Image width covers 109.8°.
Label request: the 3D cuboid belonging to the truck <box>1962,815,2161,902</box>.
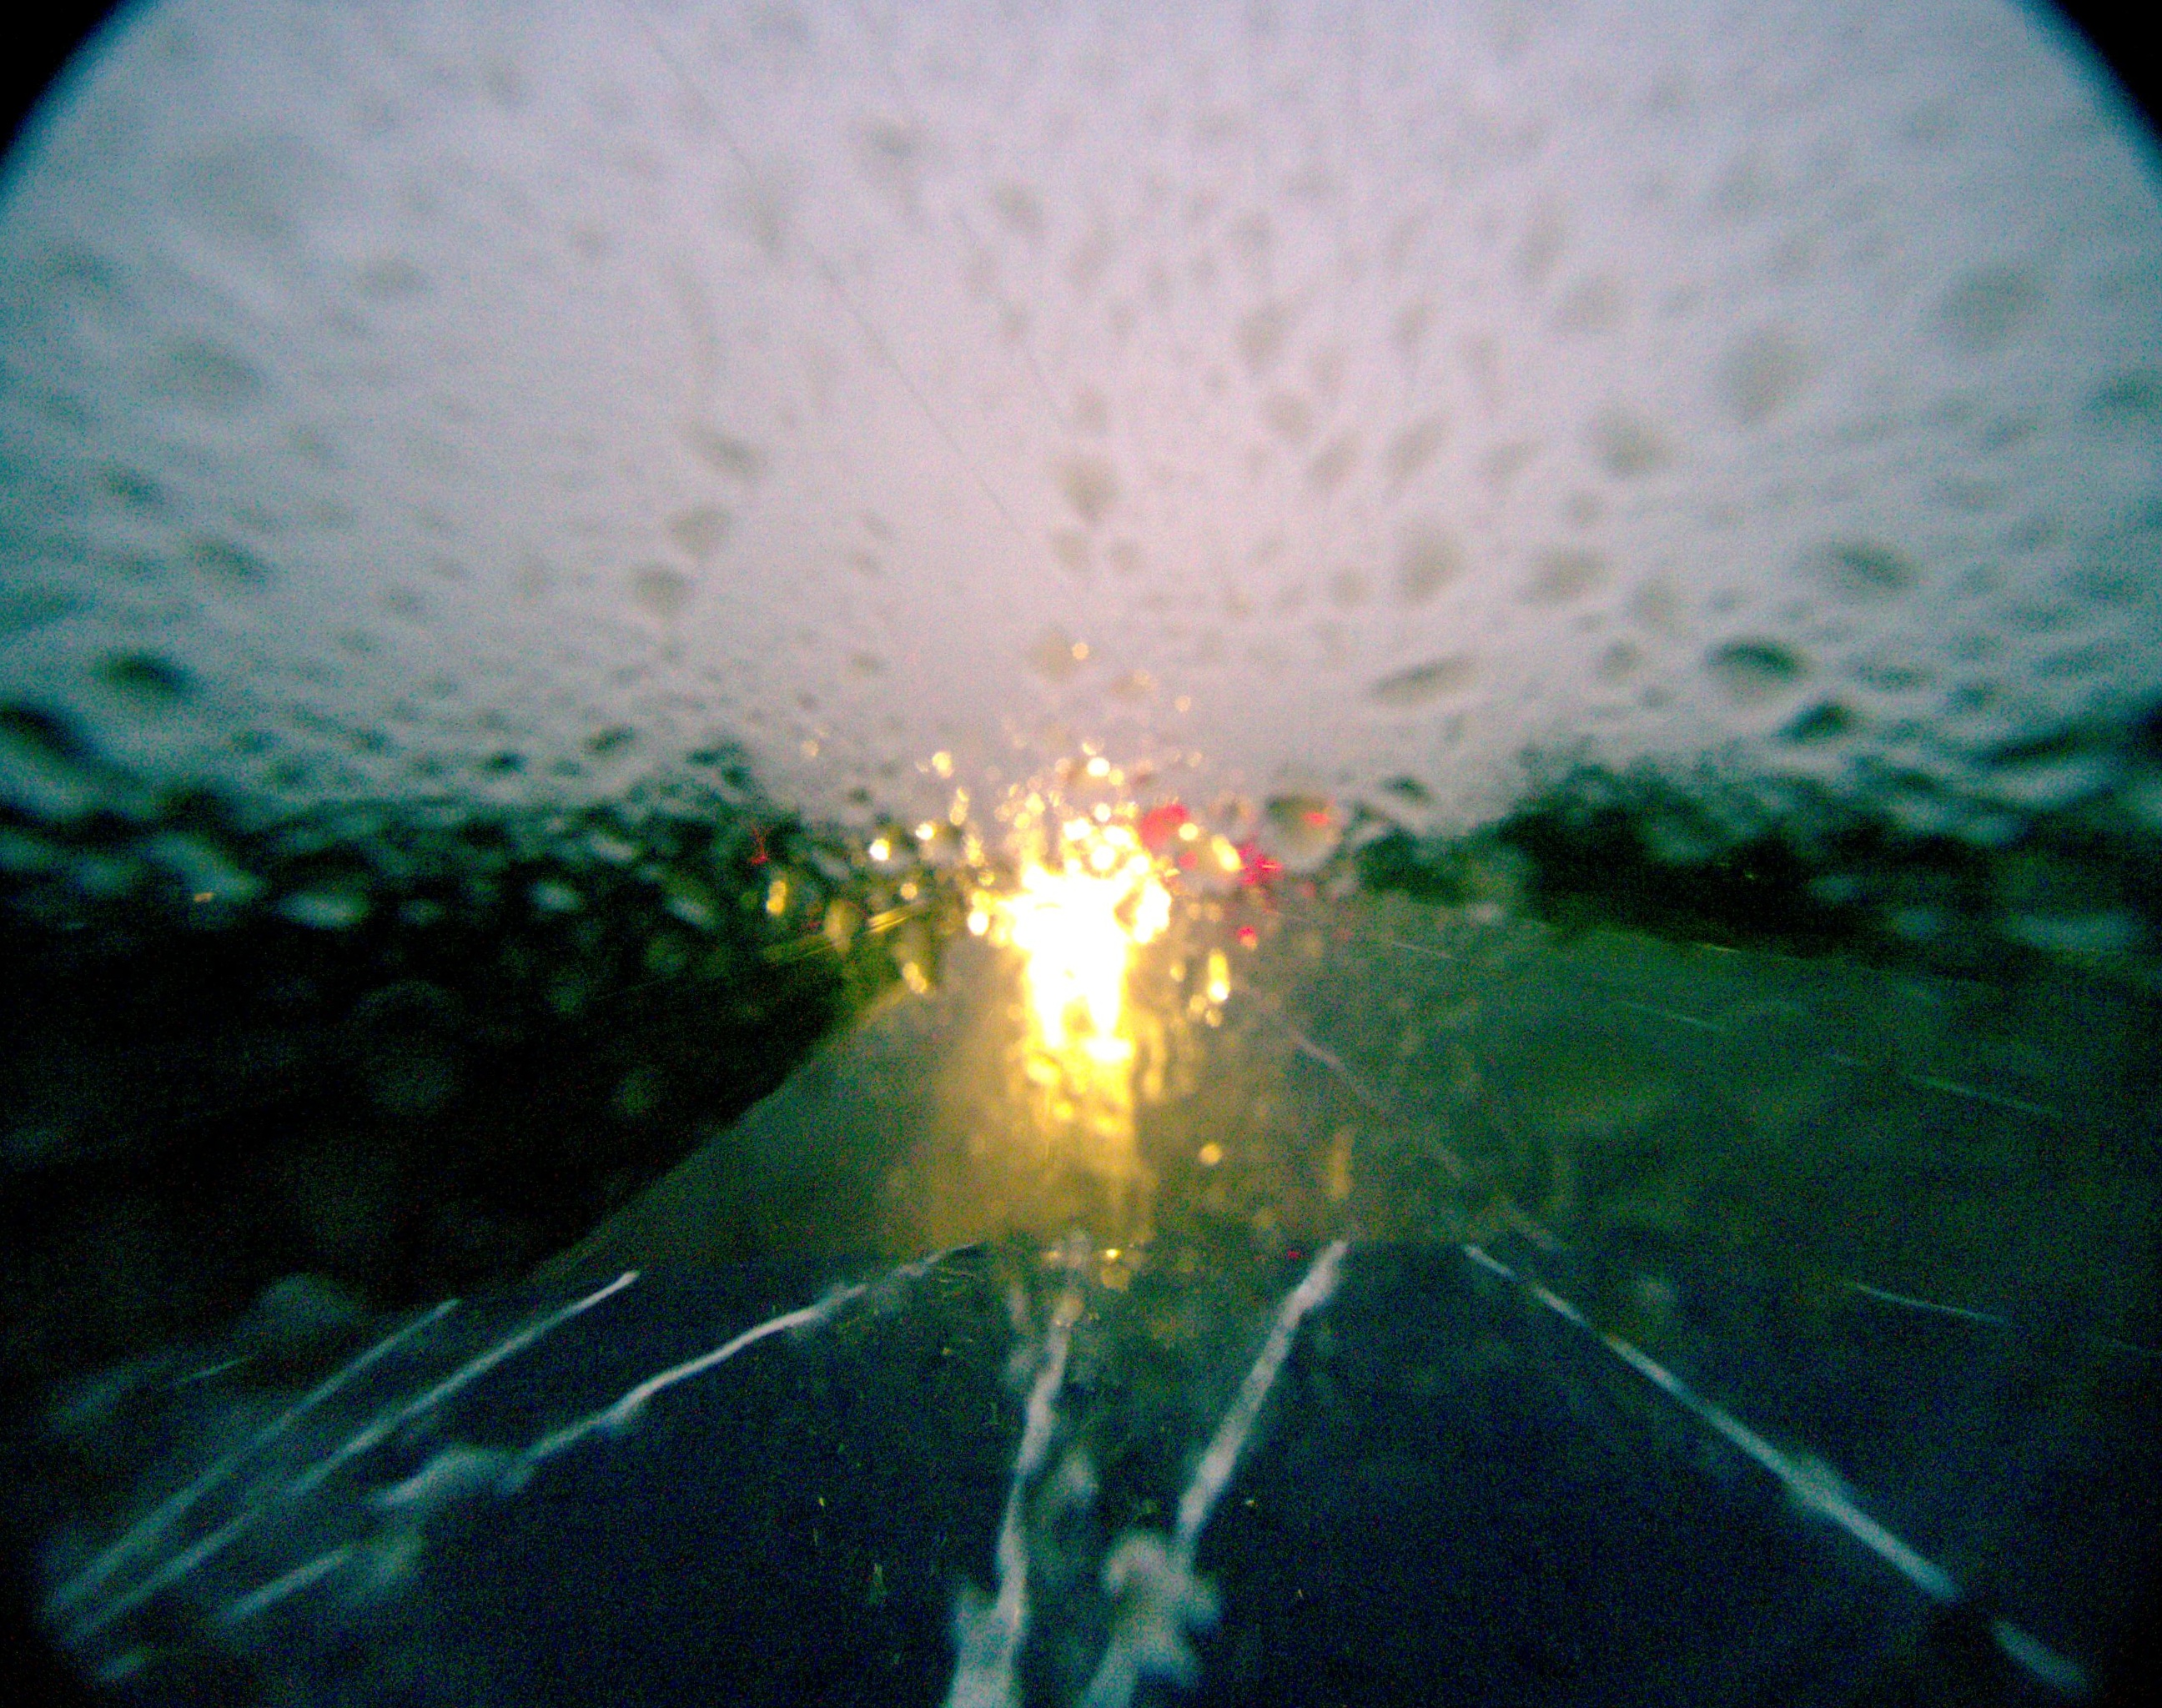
[{"bbox_3d":[60.175,0.122,44.874,3.279,4.584,13.889,0,1,15],"label":"truck"}]

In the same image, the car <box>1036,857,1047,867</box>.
[{"bbox_3d":[-7.173,1.488,138.187,1.919,1.622,3.859,2,-3,-4],"label":"car"}]

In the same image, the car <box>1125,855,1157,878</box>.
[{"bbox_3d":[4.127,0.829,52.530,1.640,1.463,4.447,-1,1,-3],"label":"car"}]

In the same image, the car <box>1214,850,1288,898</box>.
[{"bbox_3d":[6.182,0.657,28.178,1.893,1.580,4.382,-1,1,2],"label":"car"}]

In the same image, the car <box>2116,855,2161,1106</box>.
[{"bbox_3d":[7.357,0.750,2.497,1.998,1.481,4.382,-1,1,1],"label":"car"}]

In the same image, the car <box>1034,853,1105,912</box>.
[{"bbox_3d":[-0.271,0.781,22.597,1.886,1.514,3.999,-1,1,1],"label":"car"}]

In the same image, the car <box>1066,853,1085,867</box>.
[{"bbox_3d":[-0.629,0.647,84.262,1.700,1.409,3.997,-1,0,-7],"label":"car"}]
